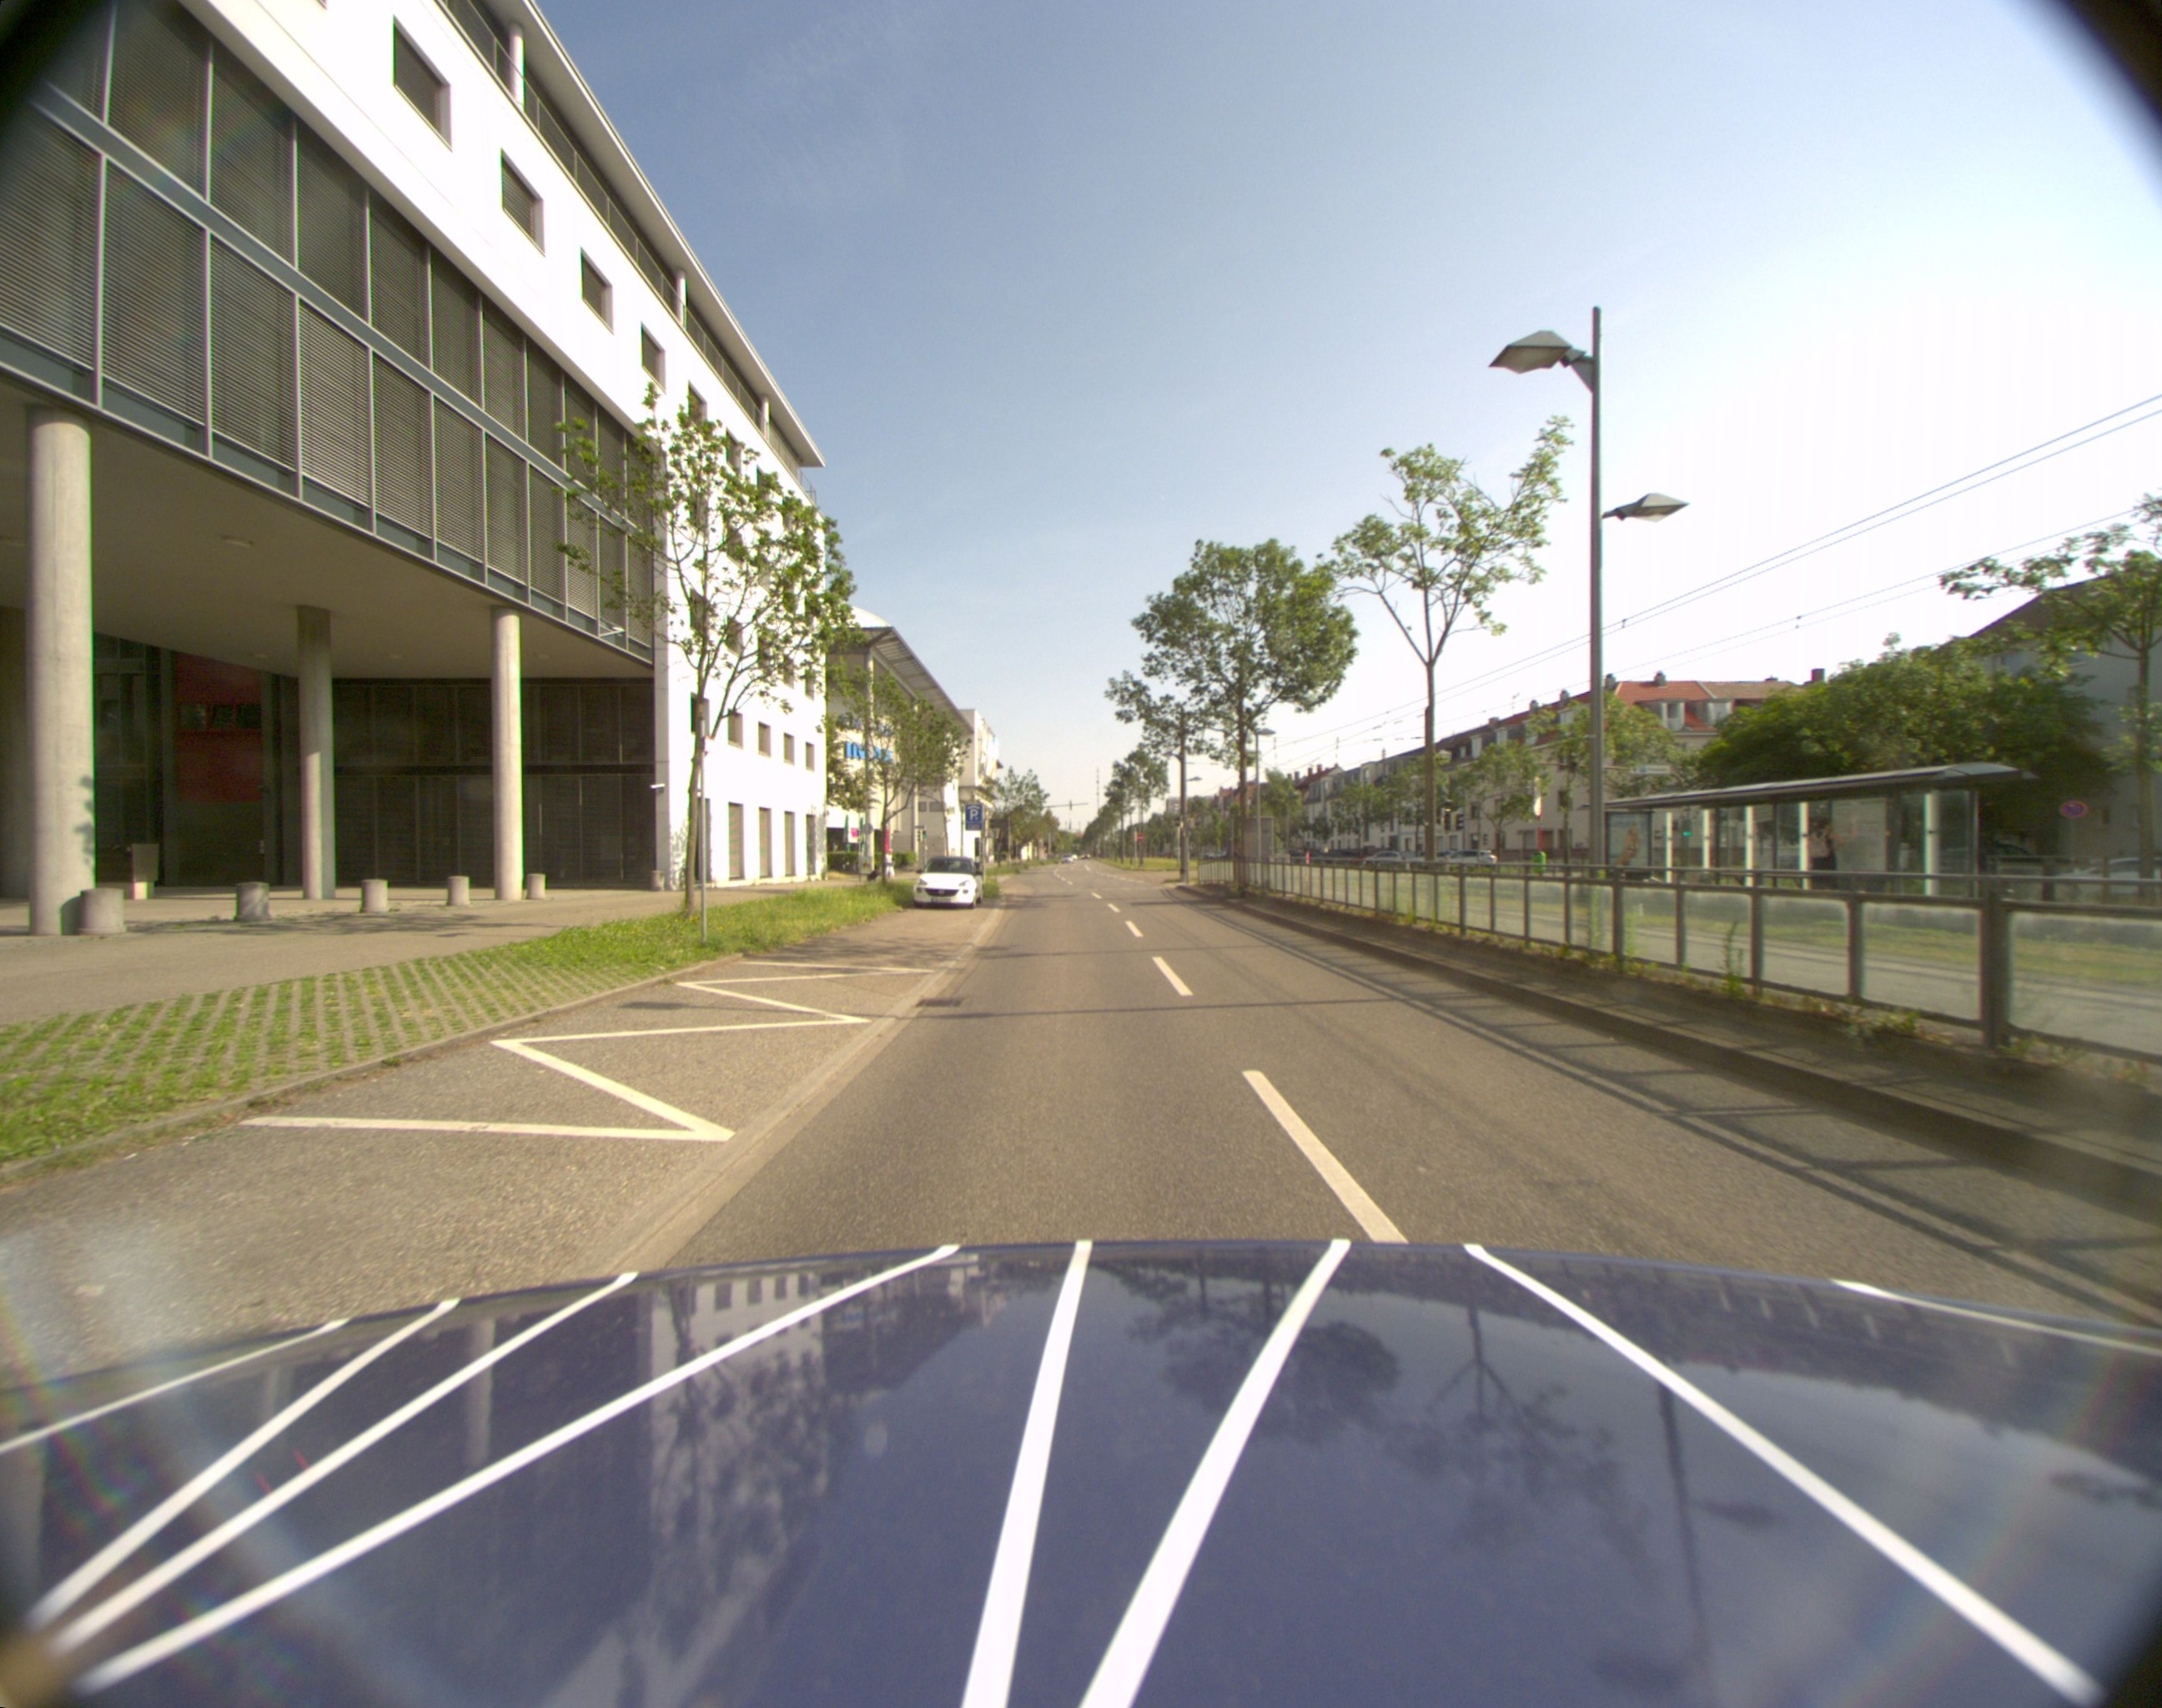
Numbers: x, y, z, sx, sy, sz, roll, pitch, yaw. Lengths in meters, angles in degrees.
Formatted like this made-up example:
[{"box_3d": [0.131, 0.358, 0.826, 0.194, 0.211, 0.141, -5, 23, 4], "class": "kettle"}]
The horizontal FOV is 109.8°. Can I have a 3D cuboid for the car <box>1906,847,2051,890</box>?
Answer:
[{"box_3d": [39.400, 0.602, 33.447, 3.997, 1.685, 2.000, -2, 1, 1], "class": "car"}]

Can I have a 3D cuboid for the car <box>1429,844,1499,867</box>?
[{"box_3d": [27.595, 0.100, 54.774, 4.341, 1.455, 1.967, -2, 1, 33], "class": "car"}]

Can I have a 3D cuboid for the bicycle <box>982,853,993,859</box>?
[{"box_3d": [-14.309, 0.299, 116.612, 1.661, 0.910, 0.482, 0, 1, 0], "class": "bicycle"}]

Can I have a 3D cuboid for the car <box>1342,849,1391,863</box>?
[{"box_3d": [26.836, 0.166, 71.388, 3.988, 1.251, 1.880, 1, 1, 33], "class": "car"}]

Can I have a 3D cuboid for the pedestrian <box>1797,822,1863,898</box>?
[{"box_3d": [16.598, 0.122, 16.858, 0.673, 1.643, 0.794, -1, 1, -5], "class": "pedestrian"}]

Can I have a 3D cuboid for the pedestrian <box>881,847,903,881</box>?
[{"box_3d": [-9.198, 0.471, 36.991, 0.777, 1.606, 0.714, 1, 1, 27], "class": "pedestrian"}]

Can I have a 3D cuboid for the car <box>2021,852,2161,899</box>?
[{"box_3d": [29.357, 0.561, 20.898, 1.838, 1.141, 4.164, -2, 1, -1], "class": "car"}]

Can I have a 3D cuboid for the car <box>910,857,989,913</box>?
[{"box_3d": [-3.792, 0.839, 22.467, 1.725, 1.510, 3.780, -1, 0, -1], "class": "car"}]

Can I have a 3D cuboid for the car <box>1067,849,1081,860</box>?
[{"box_3d": [-1.090, 0.015, 115.441, 1.999, 1.652, 3.999, -1, 0, 0], "class": "car"}]

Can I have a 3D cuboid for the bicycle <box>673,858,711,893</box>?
[{"box_3d": [-12.588, 0.676, 24.646, 0.495, 1.080, 1.549, 1, 1, -3], "class": "bicycle"}]

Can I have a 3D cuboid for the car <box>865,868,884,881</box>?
[{"box_3d": [-10.052, 1.001, 37.032, 0.766, 0.584, 0.499, 1, 1, 26], "class": "car"}]

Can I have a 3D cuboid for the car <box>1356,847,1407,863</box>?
[{"box_3d": [27.070, 0.103, 68.420, 3.990, 1.262, 1.890, -2, 1, 30], "class": "car"}]

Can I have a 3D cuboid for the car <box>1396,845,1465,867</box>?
[{"box_3d": [26.924, 0.183, 58.533, 4.452, 1.505, 2.004, -2, 1, 36], "class": "car"}]

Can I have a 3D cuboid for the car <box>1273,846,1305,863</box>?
[{"box_3d": [22.065, -0.010, 80.790, 1.999, 1.696, 4.711, 2, 1, -1], "class": "car"}]

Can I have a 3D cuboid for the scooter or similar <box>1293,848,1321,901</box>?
[{"box_3d": [5.435, 0.470, 18.255, 0.426, 1.232, 1.264, 1, 1, 27], "class": "scooter or similar"}]

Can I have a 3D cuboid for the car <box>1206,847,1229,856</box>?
[{"box_3d": [27.227, -0.500, 151.499, 4.088, 1.520, 1.816, -2, 1, 37], "class": "car"}]

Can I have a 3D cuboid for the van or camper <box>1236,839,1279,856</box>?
[{"box_3d": [27.766, -1.029, 119.522, 6.144, 2.532, 2.419, -1, 1, 37], "class": "van or camper"}]

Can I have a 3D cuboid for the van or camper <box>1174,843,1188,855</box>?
[{"box_3d": [21.893, -1.079, 166.114, 2.147, 2.459, 6.057, 1, 1, -1], "class": "van or camper"}]

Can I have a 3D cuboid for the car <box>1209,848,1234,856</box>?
[{"box_3d": [27.481, -0.339, 148.652, 4.354, 1.466, 1.861, -2, 1, 37], "class": "car"}]

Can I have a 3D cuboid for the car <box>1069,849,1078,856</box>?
[{"box_3d": [-1.657, -0.409, 174.078, 1.999, 1.652, 3.999, -1, 0, 0], "class": "car"}]

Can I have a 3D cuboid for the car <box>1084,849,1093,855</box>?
[{"box_3d": [1.864, -0.498, 189.070, 1.999, 1.652, 3.999, -1, 0, 0], "class": "car"}]
